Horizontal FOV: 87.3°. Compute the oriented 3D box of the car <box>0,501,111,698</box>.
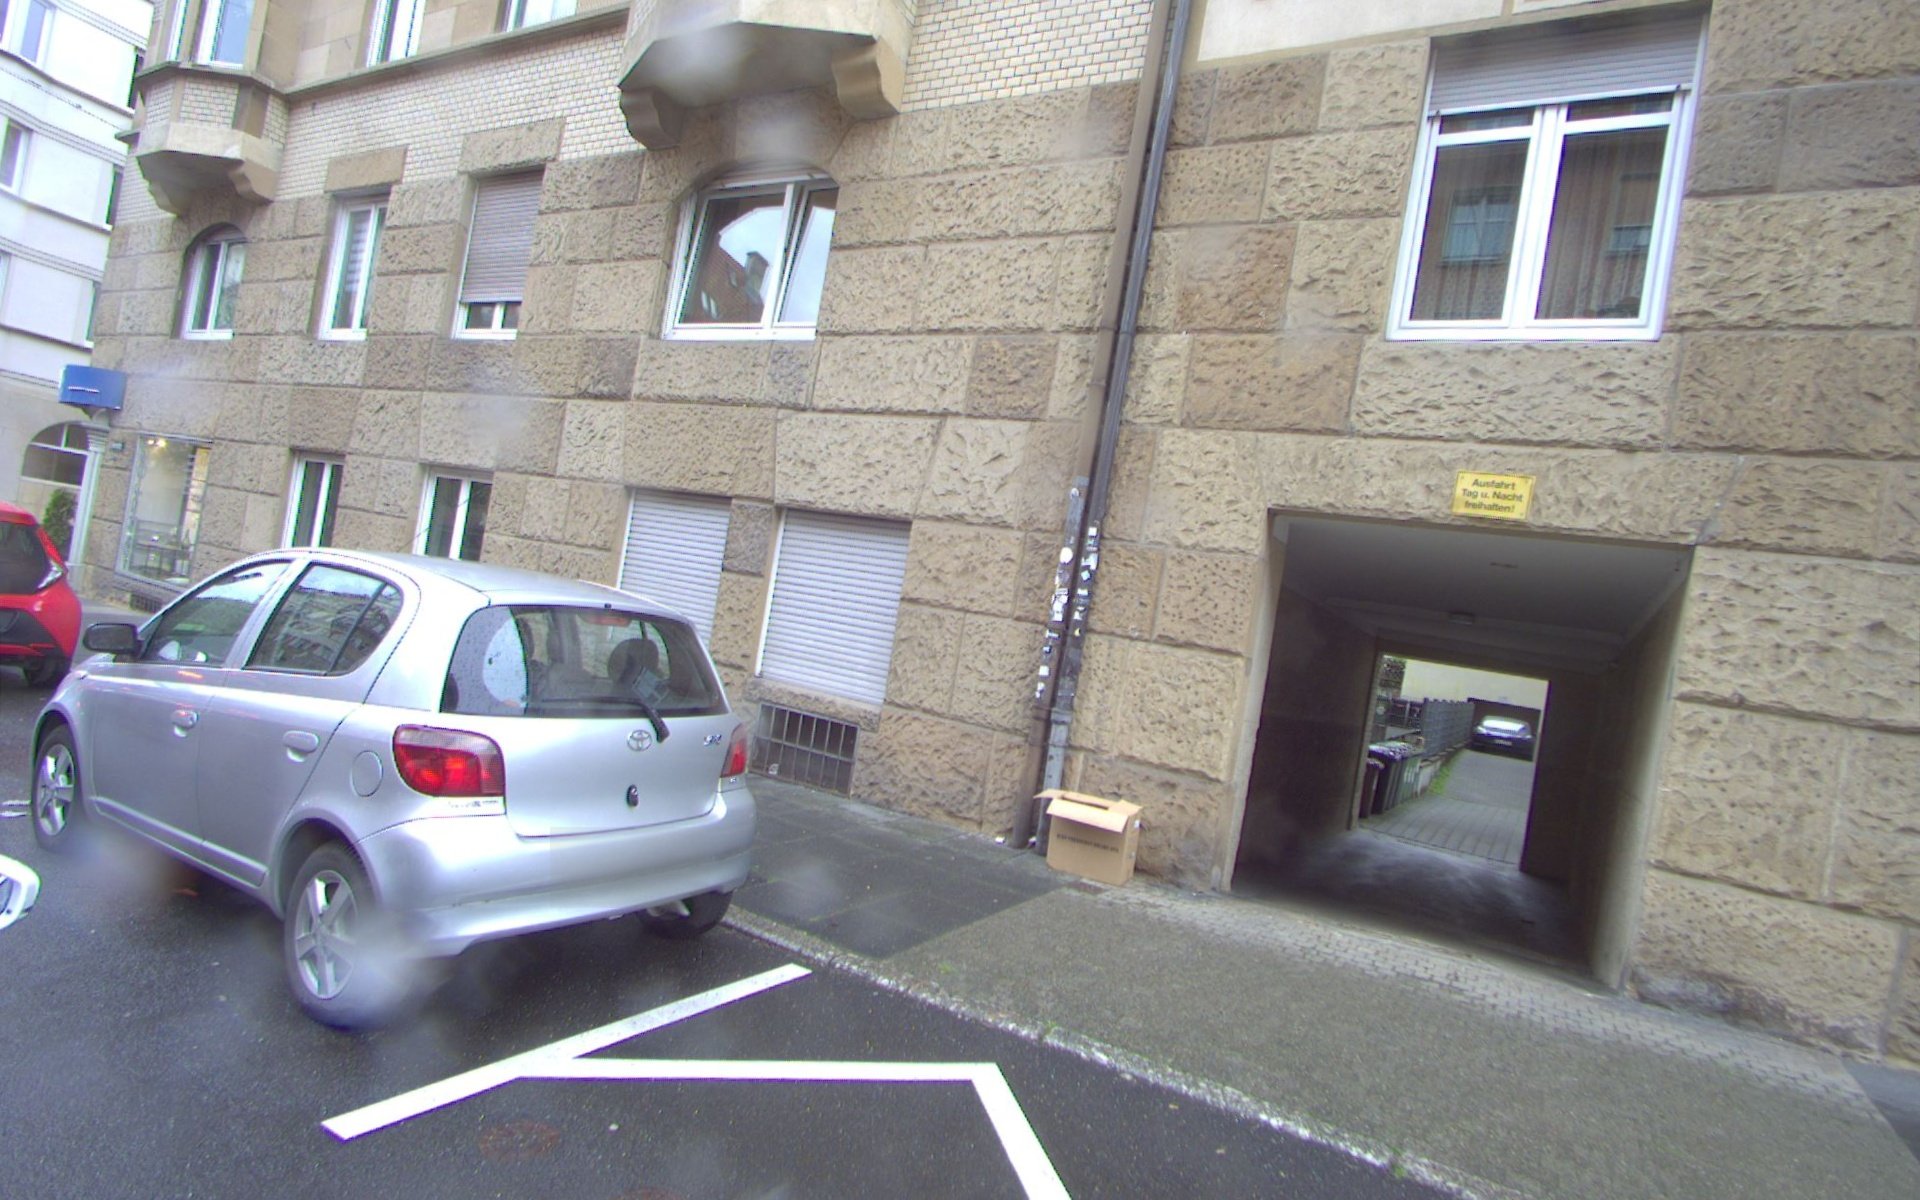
[{"bbox_3d":[-8.727,-0.195,8.177,3.243,1.464,1.646,7,-2,29],"label":"car"}]

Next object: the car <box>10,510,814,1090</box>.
[{"bbox_3d":[-2.478,0.551,4.400,3.258,1.485,1.616,7,-1,33],"label":"car"}]

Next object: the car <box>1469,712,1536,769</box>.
[{"bbox_3d":[18.344,4.704,33.943,1.693,1.538,4.102,7,-3,31],"label":"car"}]
